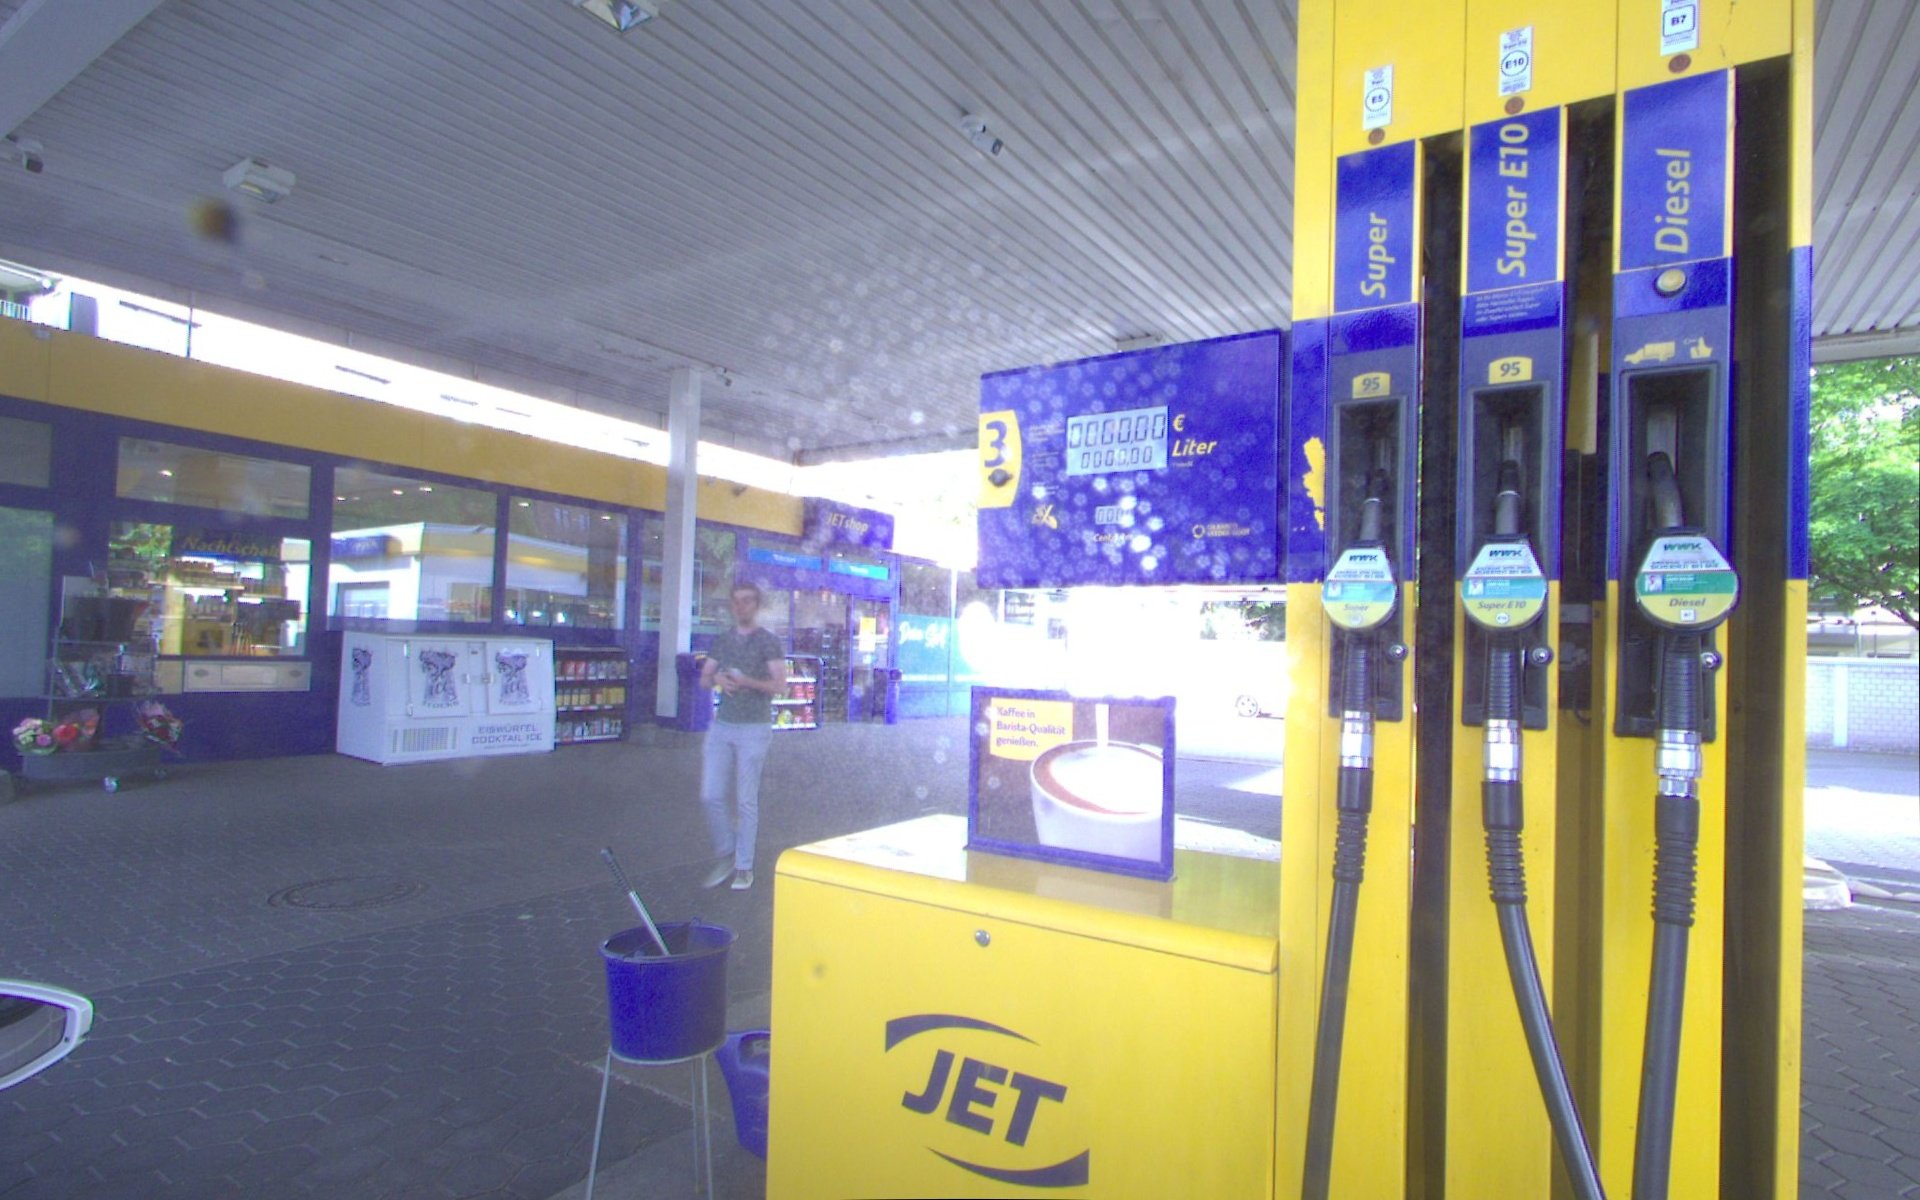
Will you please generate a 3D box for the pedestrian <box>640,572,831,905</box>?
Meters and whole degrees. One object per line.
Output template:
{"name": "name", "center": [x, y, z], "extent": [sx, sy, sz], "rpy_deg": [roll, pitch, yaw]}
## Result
{"name": "pedestrian", "center": [-1.335, 0.794, 6.150], "extent": [0.788, 1.838, 0.985], "rpy_deg": [2, -2, 8]}
